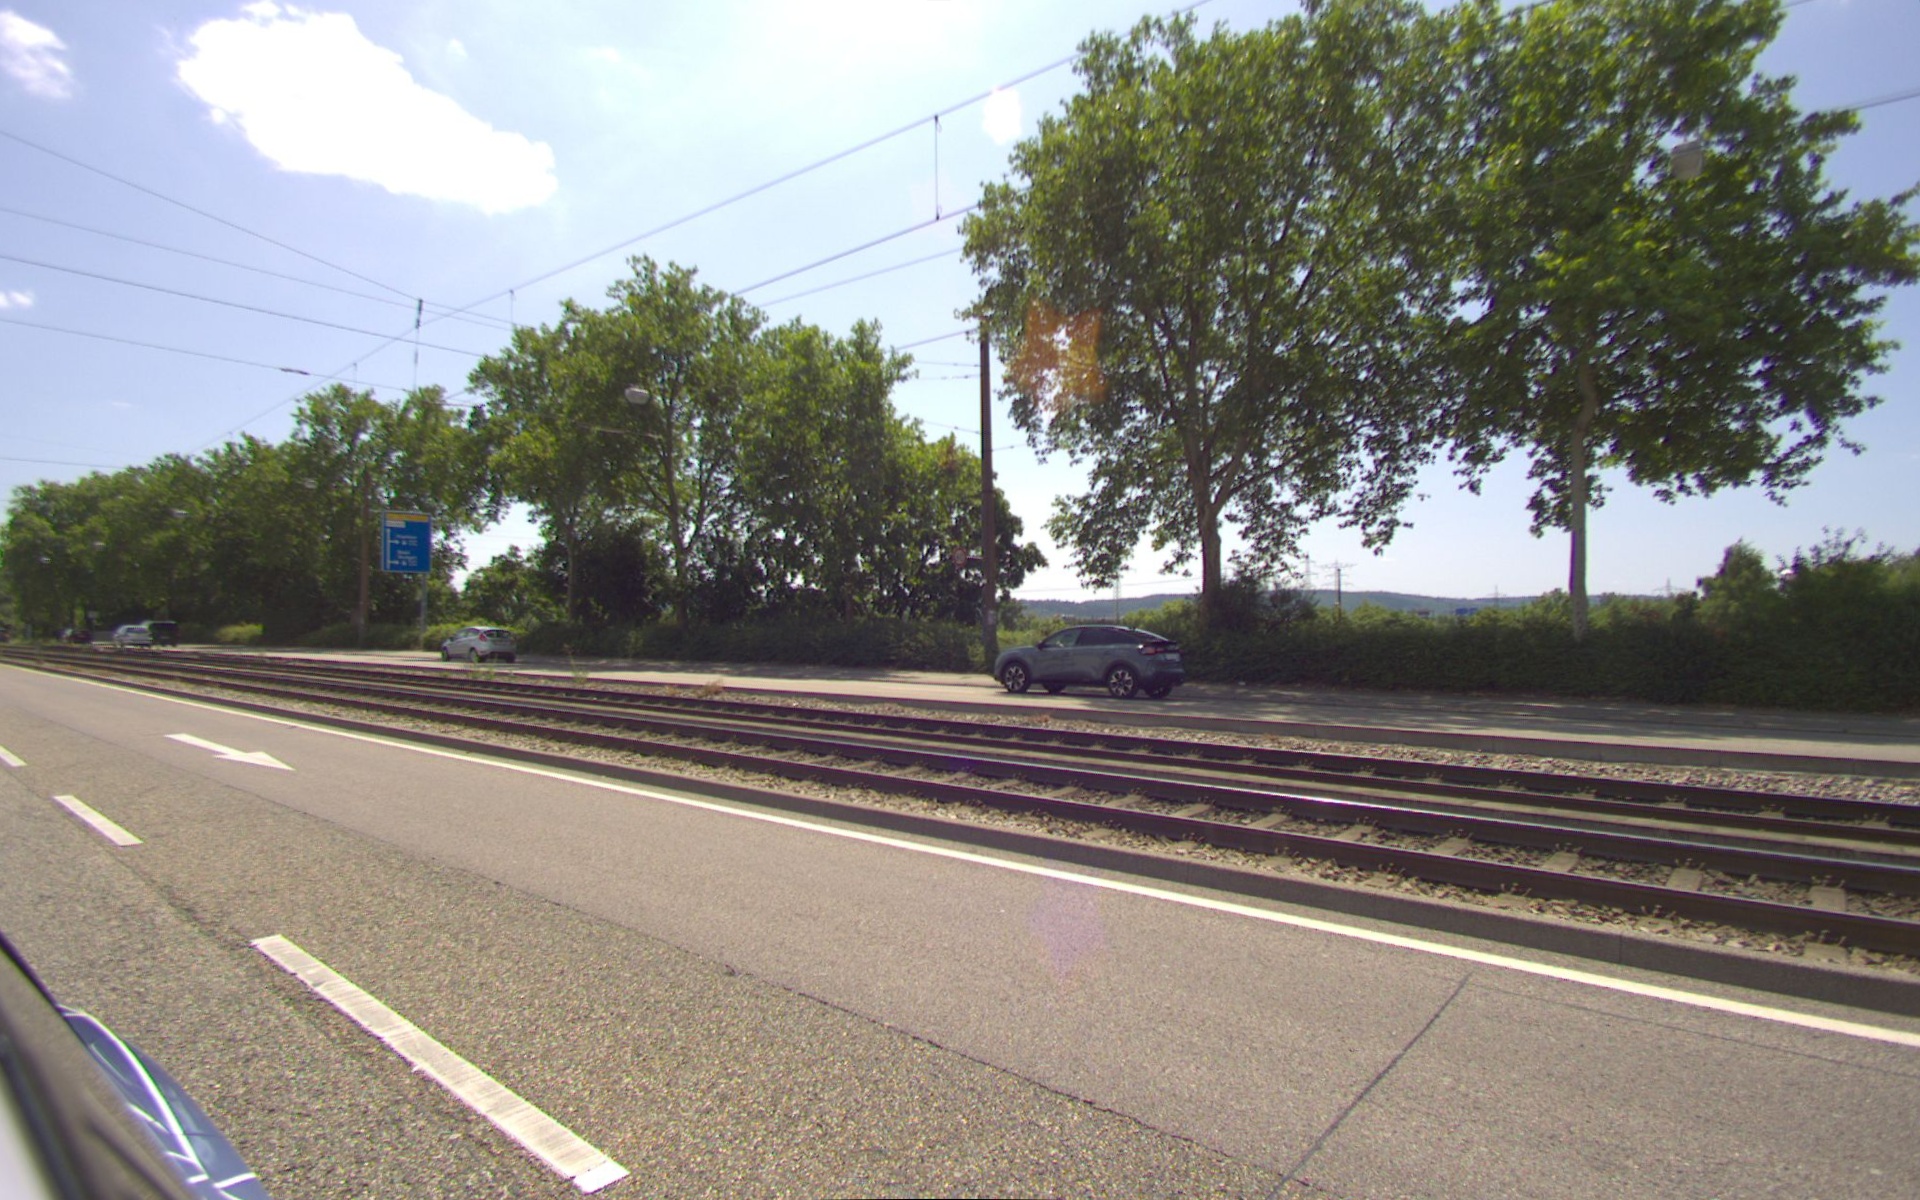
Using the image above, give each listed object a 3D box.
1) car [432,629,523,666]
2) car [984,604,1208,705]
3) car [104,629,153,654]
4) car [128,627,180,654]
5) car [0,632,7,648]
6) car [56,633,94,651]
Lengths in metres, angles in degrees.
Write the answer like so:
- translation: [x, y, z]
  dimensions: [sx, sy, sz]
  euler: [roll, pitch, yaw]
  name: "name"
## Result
- translation: [-19.649, 1.940, 41.165]
  dimensions: [3.879, 1.427, 1.804]
  euler: [-1, -4, 39]
  name: "car"
- translation: [2.888, 1.131, 21.960]
  dimensions: [4.404, 1.932, 1.975]
  euler: [-2, 0, 38]
  name: "car"
- translation: [-54.072, 2.703, 65.771]
  dimensions: [4.055, 1.596, 1.668]
  euler: [-2, -5, 40]
  name: "car"
- translation: [-58.852, 2.969, 73.868]
  dimensions: [4.965, 1.845, 1.973]
  euler: [-2, -4, 40]
  name: "car"
- translation: [-111.586, 4.578, 116.573]
  dimensions: [4.965, 1.845, 1.973]
  euler: [-2, -4, 40]
  name: "car"
- translation: [-83.597, 3.968, 95.574]
  dimensions: [4.464, 1.683, 1.973]
  euler: [-2, -4, 40]
  name: "car"
